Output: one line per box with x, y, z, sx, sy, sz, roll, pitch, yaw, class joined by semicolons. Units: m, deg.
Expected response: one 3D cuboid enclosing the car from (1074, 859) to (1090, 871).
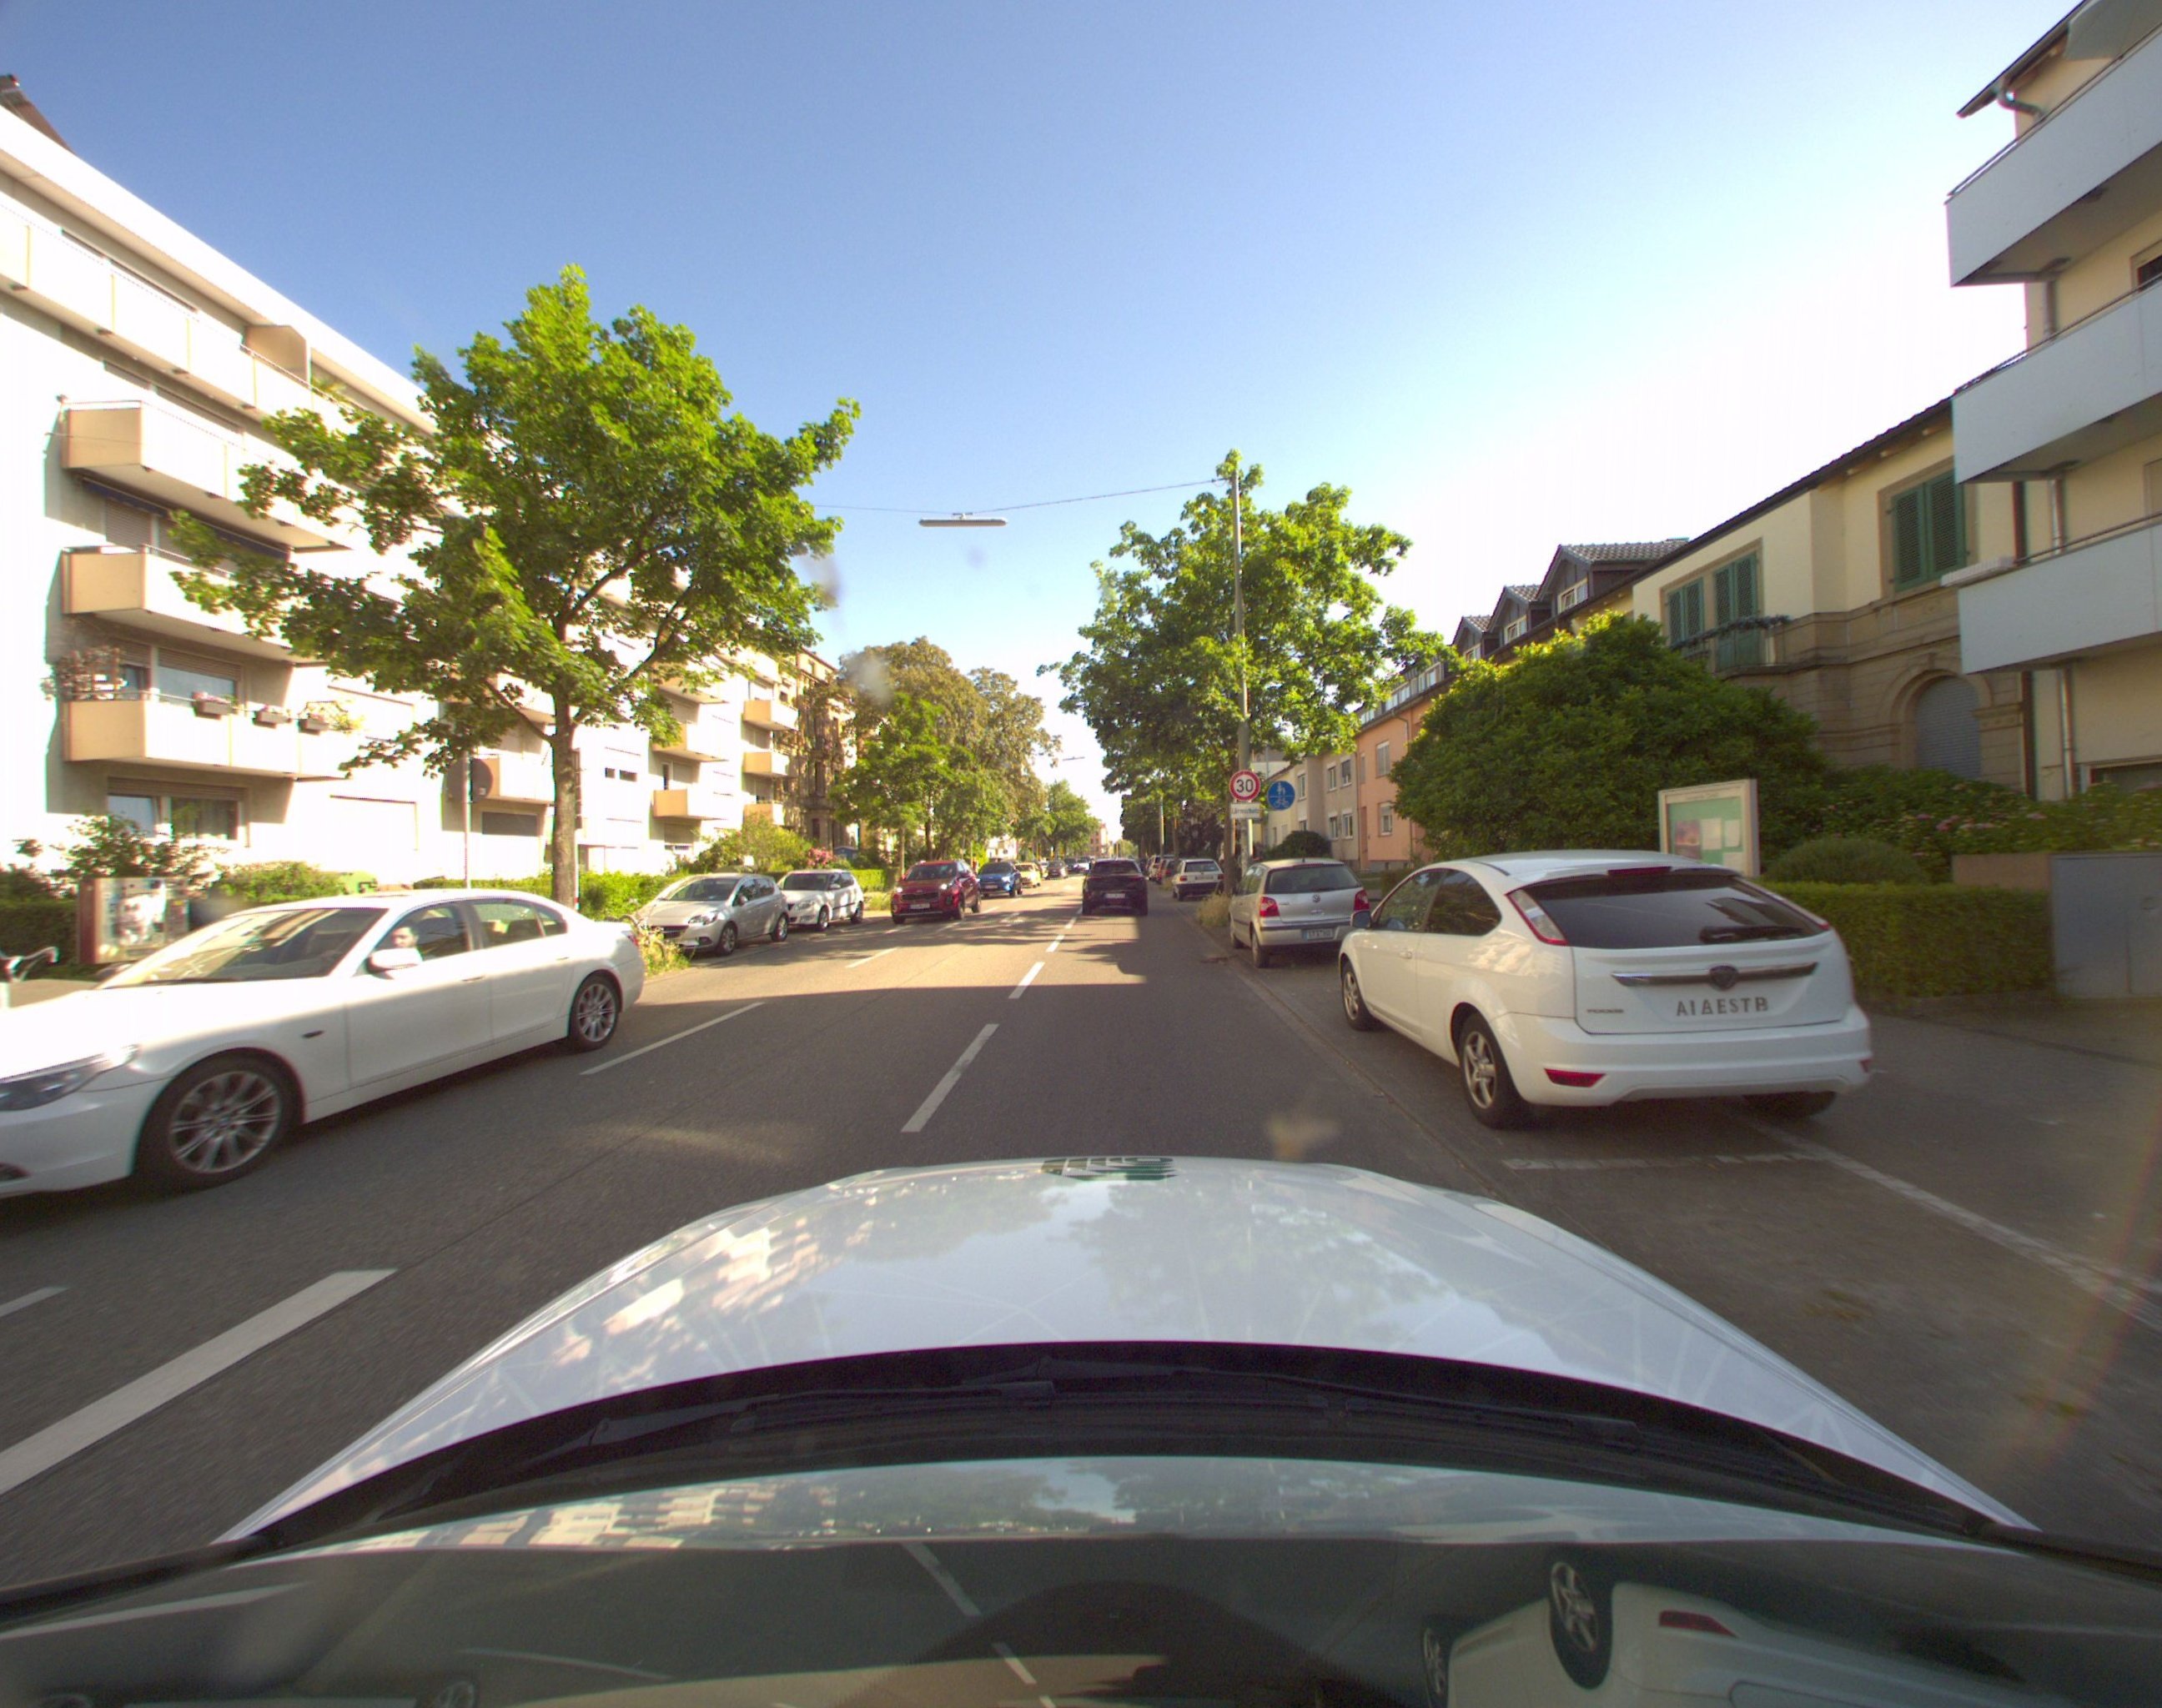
0.100;1.353;101.032;1.726;1.412;4.195;-4;-1;3;car

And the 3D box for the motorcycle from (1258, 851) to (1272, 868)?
15.410;0.479;68.303;0.633;1.375;2.427;-2;0;3;motorcycle

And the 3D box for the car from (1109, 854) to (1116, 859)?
9.297;0.814;239.376;1.766;1.452;3.885;-1;0;0;car

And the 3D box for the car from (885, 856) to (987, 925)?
-3.953;0.939;22.931;1.714;1.617;4.304;-4;0;4;car

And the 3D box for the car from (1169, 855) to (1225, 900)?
4.095;0.792;29.158;1.642;1.403;3.974;-3;0;4;car

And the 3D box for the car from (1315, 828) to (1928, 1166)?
3.065;0.680;5.834;1.732;1.482;4.199;-3;-1;3;car

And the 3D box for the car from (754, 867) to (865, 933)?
-6.845;1.111;20.901;1.395;1.489;3.689;-1;0;4;car

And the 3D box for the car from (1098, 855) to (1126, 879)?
2.221;0.884;56.899;1.822;1.578;3.843;-2;0;3;car

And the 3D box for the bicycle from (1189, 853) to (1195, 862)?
16.324;0.465;119.965;0.620;1.287;1.844;-4;-1;3;bicycle

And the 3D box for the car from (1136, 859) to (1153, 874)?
6.554;1.266;84.634;1.579;1.396;4.458;-3;-1;3;car

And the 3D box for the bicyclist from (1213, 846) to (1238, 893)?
5.605;0.600;31.633;0.721;1.793;1.016;-2;-1;3;bicyclist

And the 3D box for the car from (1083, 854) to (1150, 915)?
1.010;0.814;23.062;1.738;1.574;3.560;0;-1;3;car

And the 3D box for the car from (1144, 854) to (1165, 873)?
6.135;0.756;68.309;1.613;1.499;3.653;-2;0;4;car

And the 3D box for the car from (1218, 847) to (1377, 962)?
3.197;0.688;12.731;1.560;1.457;3.868;-3;-1;3;car

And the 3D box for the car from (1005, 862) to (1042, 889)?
-3.240;1.183;46.500;1.628;1.403;3.737;-3;-1;1;car

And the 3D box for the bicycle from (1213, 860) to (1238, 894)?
5.613;0.885;31.665;0.695;1.247;1.823;-2;-1;3;bicycle

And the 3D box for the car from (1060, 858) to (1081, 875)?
-1.040;1.280;85.063;1.829;1.614;4.403;-4;0;2;car

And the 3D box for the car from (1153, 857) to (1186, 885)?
4.991;0.933;46.186;1.526;1.449;3.719;-2;0;2;car

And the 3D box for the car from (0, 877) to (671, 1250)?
-5.205;0.997;5.850;1.806;1.465;4.782;-3;-1;3;car

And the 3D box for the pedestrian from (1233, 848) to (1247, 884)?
7.458;0.556;38.162;0.536;1.677;0.494;-2;-1;2;pedestrian

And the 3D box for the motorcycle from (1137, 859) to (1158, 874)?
5.964;1.110;73.279;0.701;1.272;2.412;-3;0;-25;motorcycle

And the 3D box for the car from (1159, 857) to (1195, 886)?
4.803;0.857;41.231;1.525;1.356;3.720;-2;0;3;car

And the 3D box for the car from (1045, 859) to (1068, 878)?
-1.938;1.126;64.875;1.575;1.451;3.746;-3;0;2;car

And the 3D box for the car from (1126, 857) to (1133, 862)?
15.287;1.692;257.335;1.984;1.519;4.005;1;-1;4;car

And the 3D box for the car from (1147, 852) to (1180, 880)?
5.313;0.766;52.832;1.762;1.659;4.342;-2;0;1;car

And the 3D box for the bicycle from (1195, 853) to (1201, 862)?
17.261;0.577;119.843;0.589;1.287;1.691;-4;-1;3;bicycle

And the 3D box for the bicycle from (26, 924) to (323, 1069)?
-7.926;1.227;7.168;1.962;1.162;0.519;0;-1;-2;bicycle

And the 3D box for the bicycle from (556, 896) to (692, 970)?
-7.236;1.235;12.946;1.819;1.087;0.560;1;-1;2;bicycle

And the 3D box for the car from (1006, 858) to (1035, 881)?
-4.299;1.079;58.540;1.618;1.588;4.350;0;0;2;car

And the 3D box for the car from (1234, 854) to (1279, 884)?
8.792;0.728;41.061;1.525;1.356;3.720;-4;-1;3;car

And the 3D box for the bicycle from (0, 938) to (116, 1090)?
-8.372;1.247;6.005;0.424;1.078;1.707;-2;0;2;bicycle

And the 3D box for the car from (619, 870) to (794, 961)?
-7.108;1.094;15.899;1.498;1.475;3.898;-1;0;2;car

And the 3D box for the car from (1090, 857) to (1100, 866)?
2.950;1.512;166.709;1.799;1.648;4.675;-4;0;2;car

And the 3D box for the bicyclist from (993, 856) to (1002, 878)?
-6.763;1.087;66.224;0.606;1.754;0.692;-1;-1;3;bicyclist

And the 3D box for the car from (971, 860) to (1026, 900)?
-3.513;1.065;35.294;1.649;1.517;4.079;-4;-1;3;car

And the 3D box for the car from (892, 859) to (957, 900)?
-6.403;1.000;33.852;1.663;1.605;4.397;0;0;3;car
